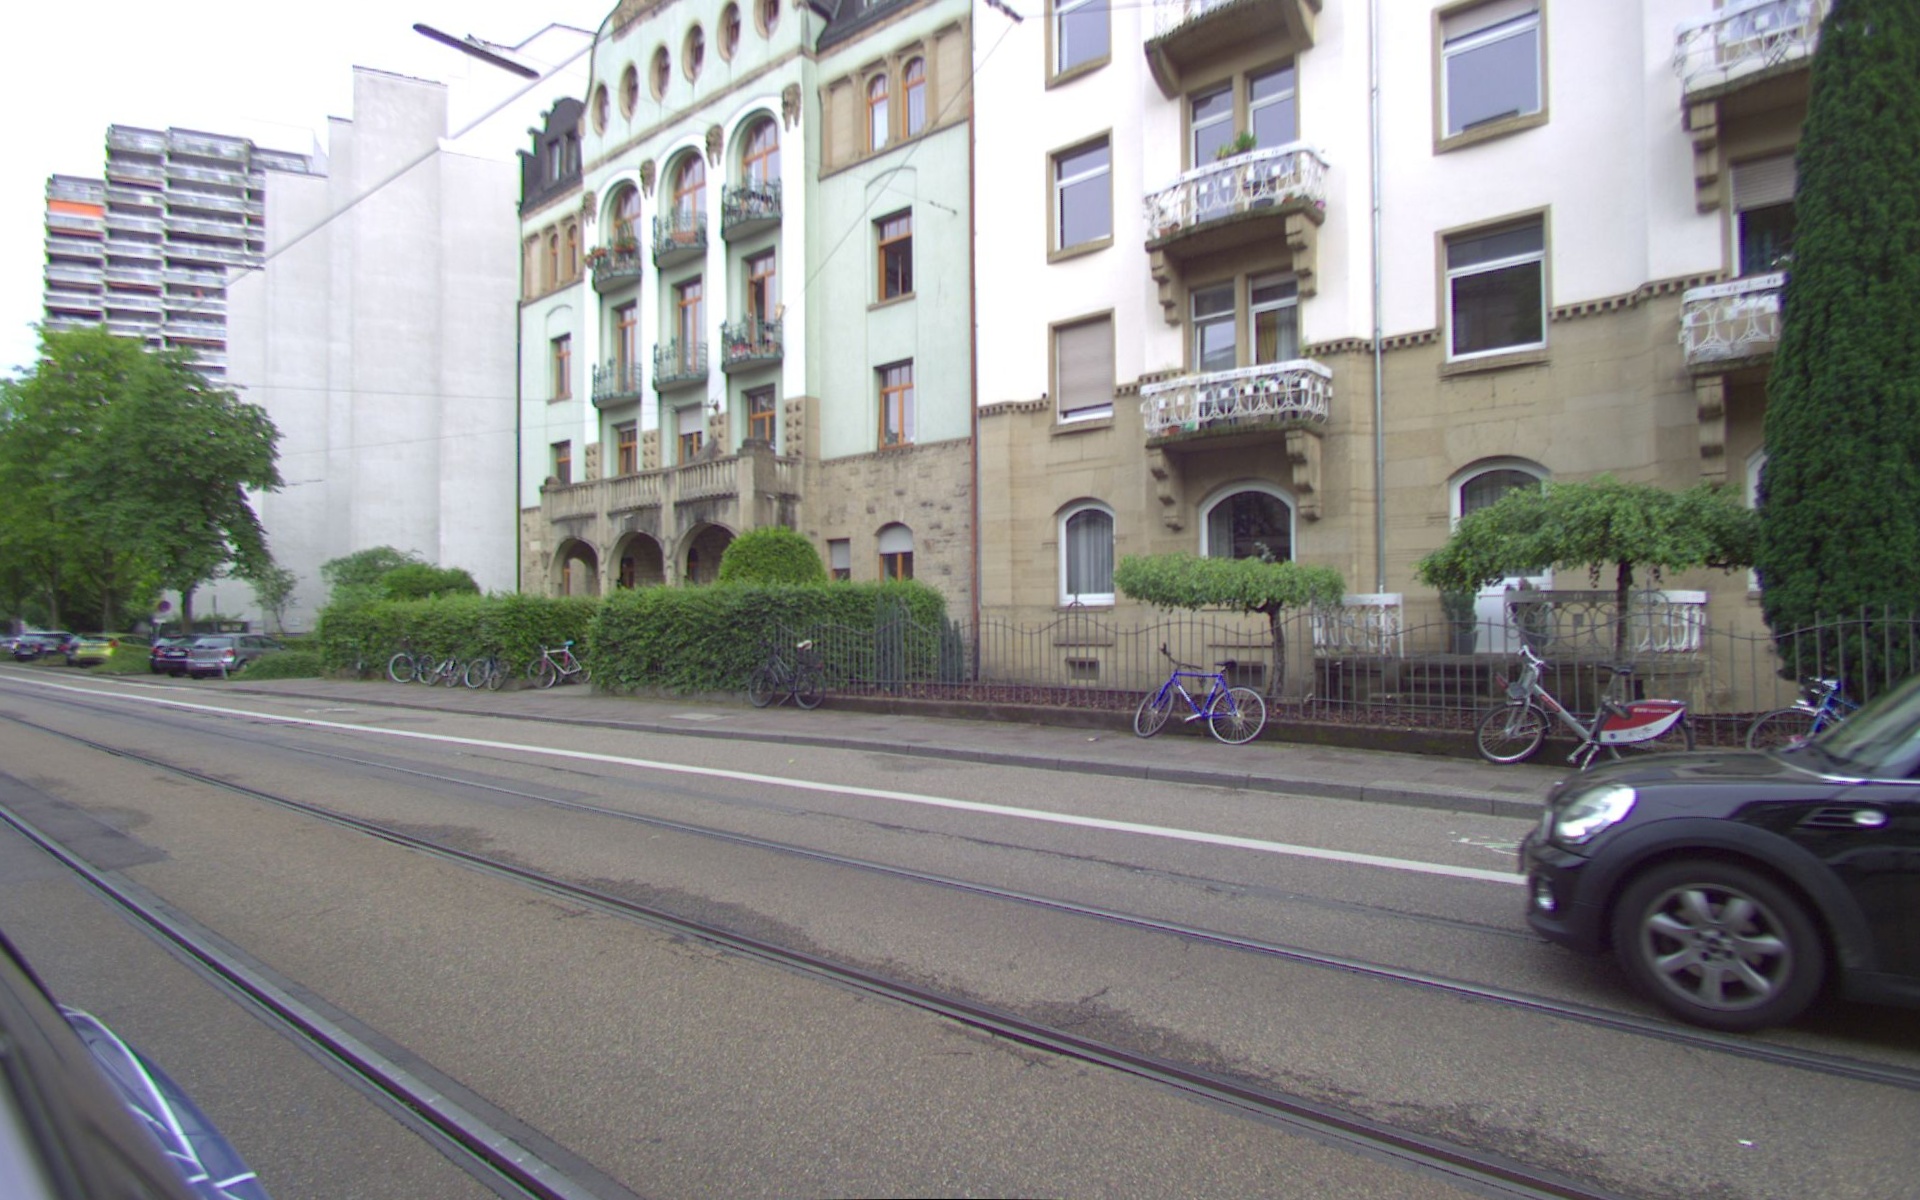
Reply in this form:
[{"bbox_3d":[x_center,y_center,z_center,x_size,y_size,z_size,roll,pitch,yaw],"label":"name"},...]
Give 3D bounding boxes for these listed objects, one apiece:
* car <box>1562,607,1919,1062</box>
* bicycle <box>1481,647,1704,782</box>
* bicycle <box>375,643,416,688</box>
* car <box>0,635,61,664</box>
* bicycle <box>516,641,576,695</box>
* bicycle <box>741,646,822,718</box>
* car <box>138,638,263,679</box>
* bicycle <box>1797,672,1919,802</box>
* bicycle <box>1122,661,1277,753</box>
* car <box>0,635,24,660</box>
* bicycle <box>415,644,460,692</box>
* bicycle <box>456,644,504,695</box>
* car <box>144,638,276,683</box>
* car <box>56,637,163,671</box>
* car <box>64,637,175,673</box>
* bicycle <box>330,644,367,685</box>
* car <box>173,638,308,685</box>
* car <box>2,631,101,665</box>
[{"bbox_3d":[4.129,0.748,3.387,3.480,1.433,1.593,-2,-3,37],"label":"car"},{"bbox_3d":[5.529,0.976,8.945,1.618,1.110,0.382,-1,-2,29],"label":"bicycle"},{"bbox_3d":[-14.208,1.631,25.458,1.545,1.092,0.356,-2,-2,40],"label":"bicycle"},{"bbox_3d":[-56.362,2.944,60.645,1.670,1.632,4.003,0,-2,-4],"label":"car"},{"bbox_3d":[-9.165,1.496,22.413,0.300,1.091,1.190,-2,0,41],"label":"bicycle"},{"bbox_3d":[-2.842,1.276,16.038,1.545,1.092,0.356,-2,-2,40],"label":"bicycle"},{"bbox_3d":[-28.187,2.149,37.728,1.671,1.414,4.000,-1,-2,-1],"label":"car"},{"bbox_3d":[7.320,1.039,7.643,1.513,0.945,0.329,-2,-2,39],"label":"bicycle"},{"bbox_3d":[2.715,1.196,11.571,1.660,0.935,0.354,-3,-22,42],"label":"bicycle"},{"bbox_3d":[-64.177,3.171,66.597,1.670,1.632,4.003,0,-2,-4],"label":"car"},{"bbox_3d":[-12.283,1.578,23.791,1.545,1.092,0.356,-2,-2,40],"label":"bicycle"},{"bbox_3d":[-10.722,1.545,22.597,1.545,1.092,0.356,-2,-2,40],"label":"bicycle"},{"bbox_3d":[-26.053,2.066,35.337,1.671,1.414,4.000,-1,-2,-1],"label":"car"},{"bbox_3d":[-38.515,2.408,45.961,1.670,1.453,4.003,0,-2,-4],"label":"car"},{"bbox_3d":[-36.307,2.347,43.846,1.670,1.405,4.003,0,-2,-4],"label":"car"},{"bbox_3d":[-16.571,1.733,27.417,1.545,1.092,0.356,-2,-2,40],"label":"bicycle"},{"bbox_3d":[-23.755,1.982,33.591,1.671,1.414,4.000,-1,-2,-1],"label":"car"},{"bbox_3d":[-46.342,2.422,51.737,1.670,1.632,4.003,0,-2,-4],"label":"car"}]
